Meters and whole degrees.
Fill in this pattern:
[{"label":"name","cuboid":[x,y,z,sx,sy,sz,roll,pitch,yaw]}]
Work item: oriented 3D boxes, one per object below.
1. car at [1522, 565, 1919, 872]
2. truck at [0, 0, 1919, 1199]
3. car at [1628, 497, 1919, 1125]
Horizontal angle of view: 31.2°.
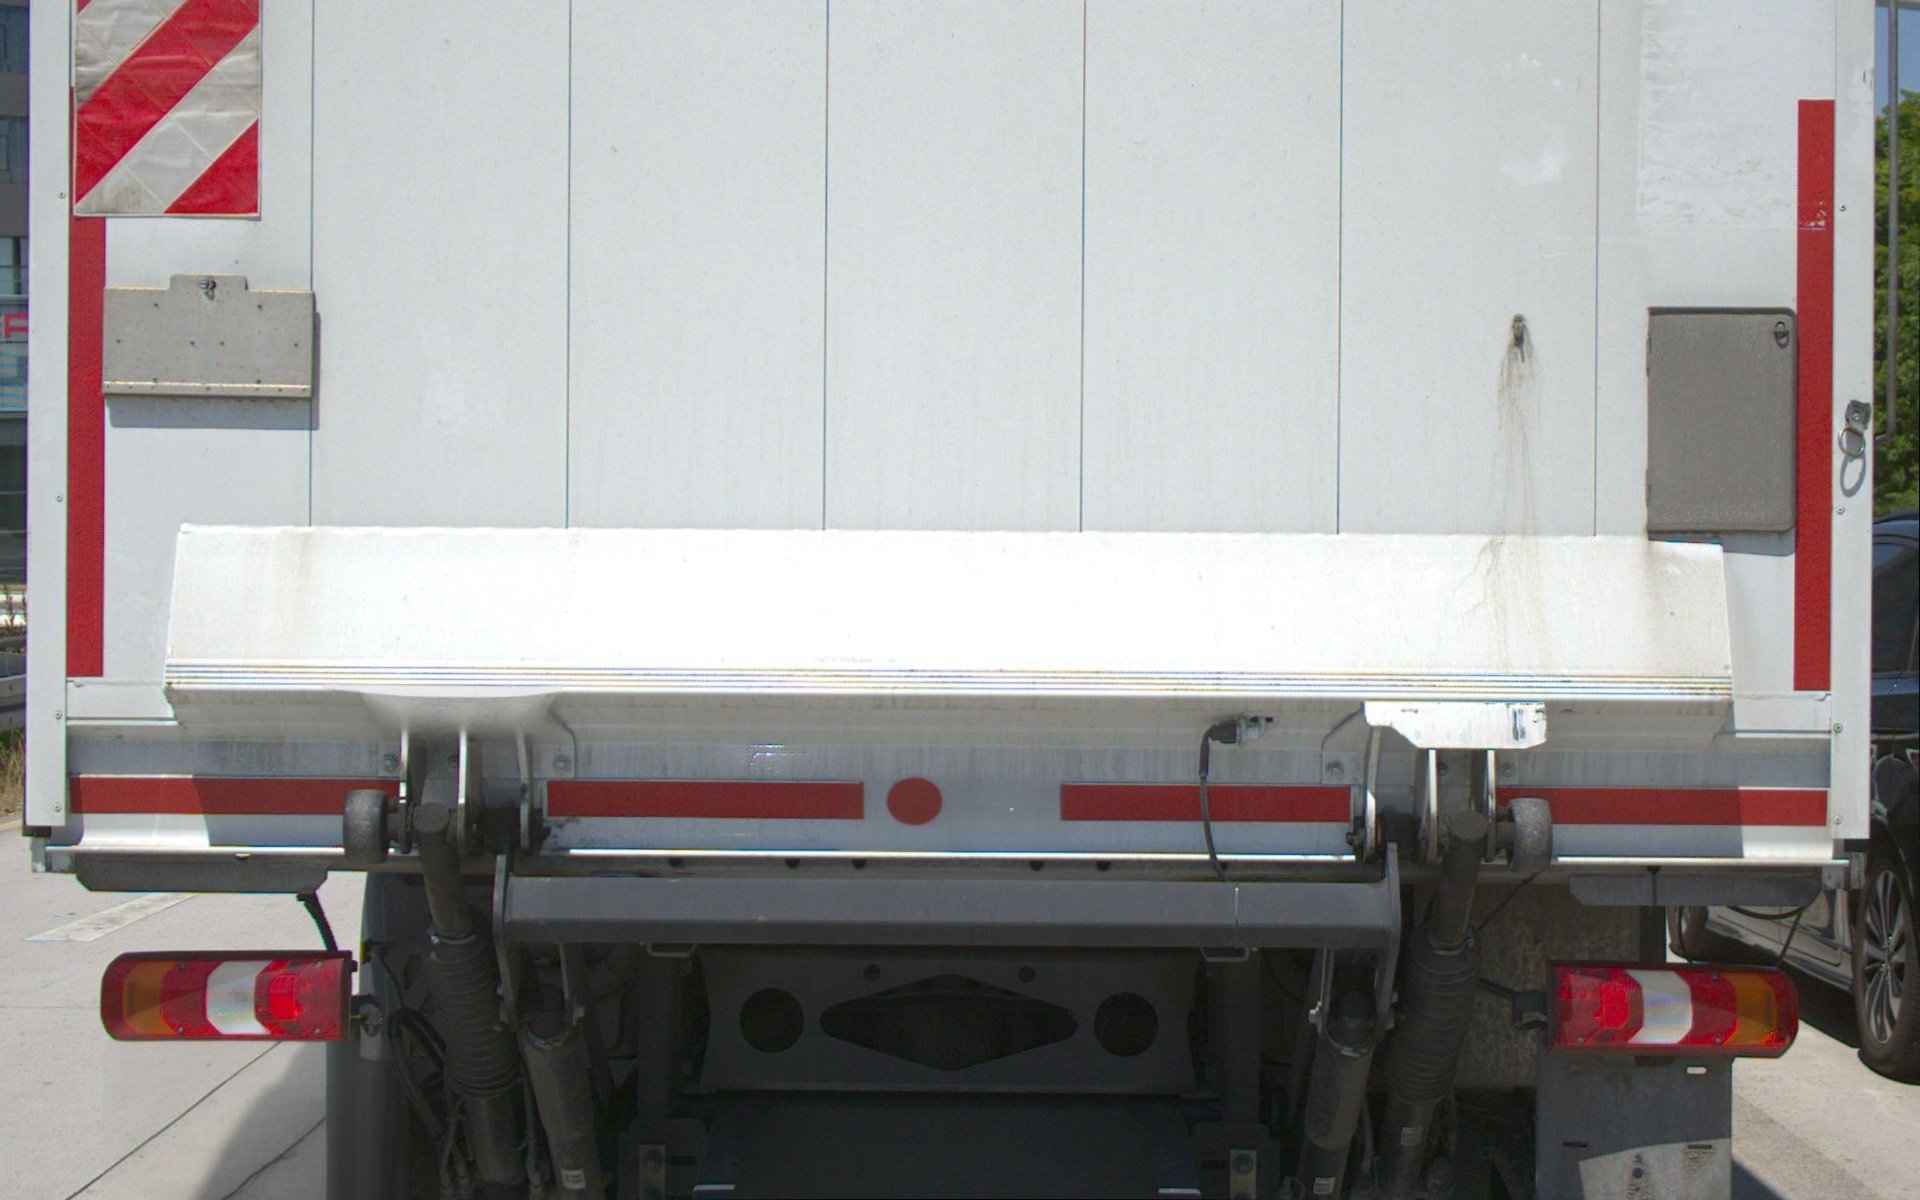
[{"label":"car","cuboid":[4.171,0.531,18.259,1.768,1.405,4.609,1,1,2]},{"label":"truck","cuboid":[-0.008,-0.553,9.173,2.769,3.846,9.371,1,1,-1]},{"label":"car","cuboid":[3.455,0.541,11.088,1.784,1.634,4.647,1,1,1]}]
